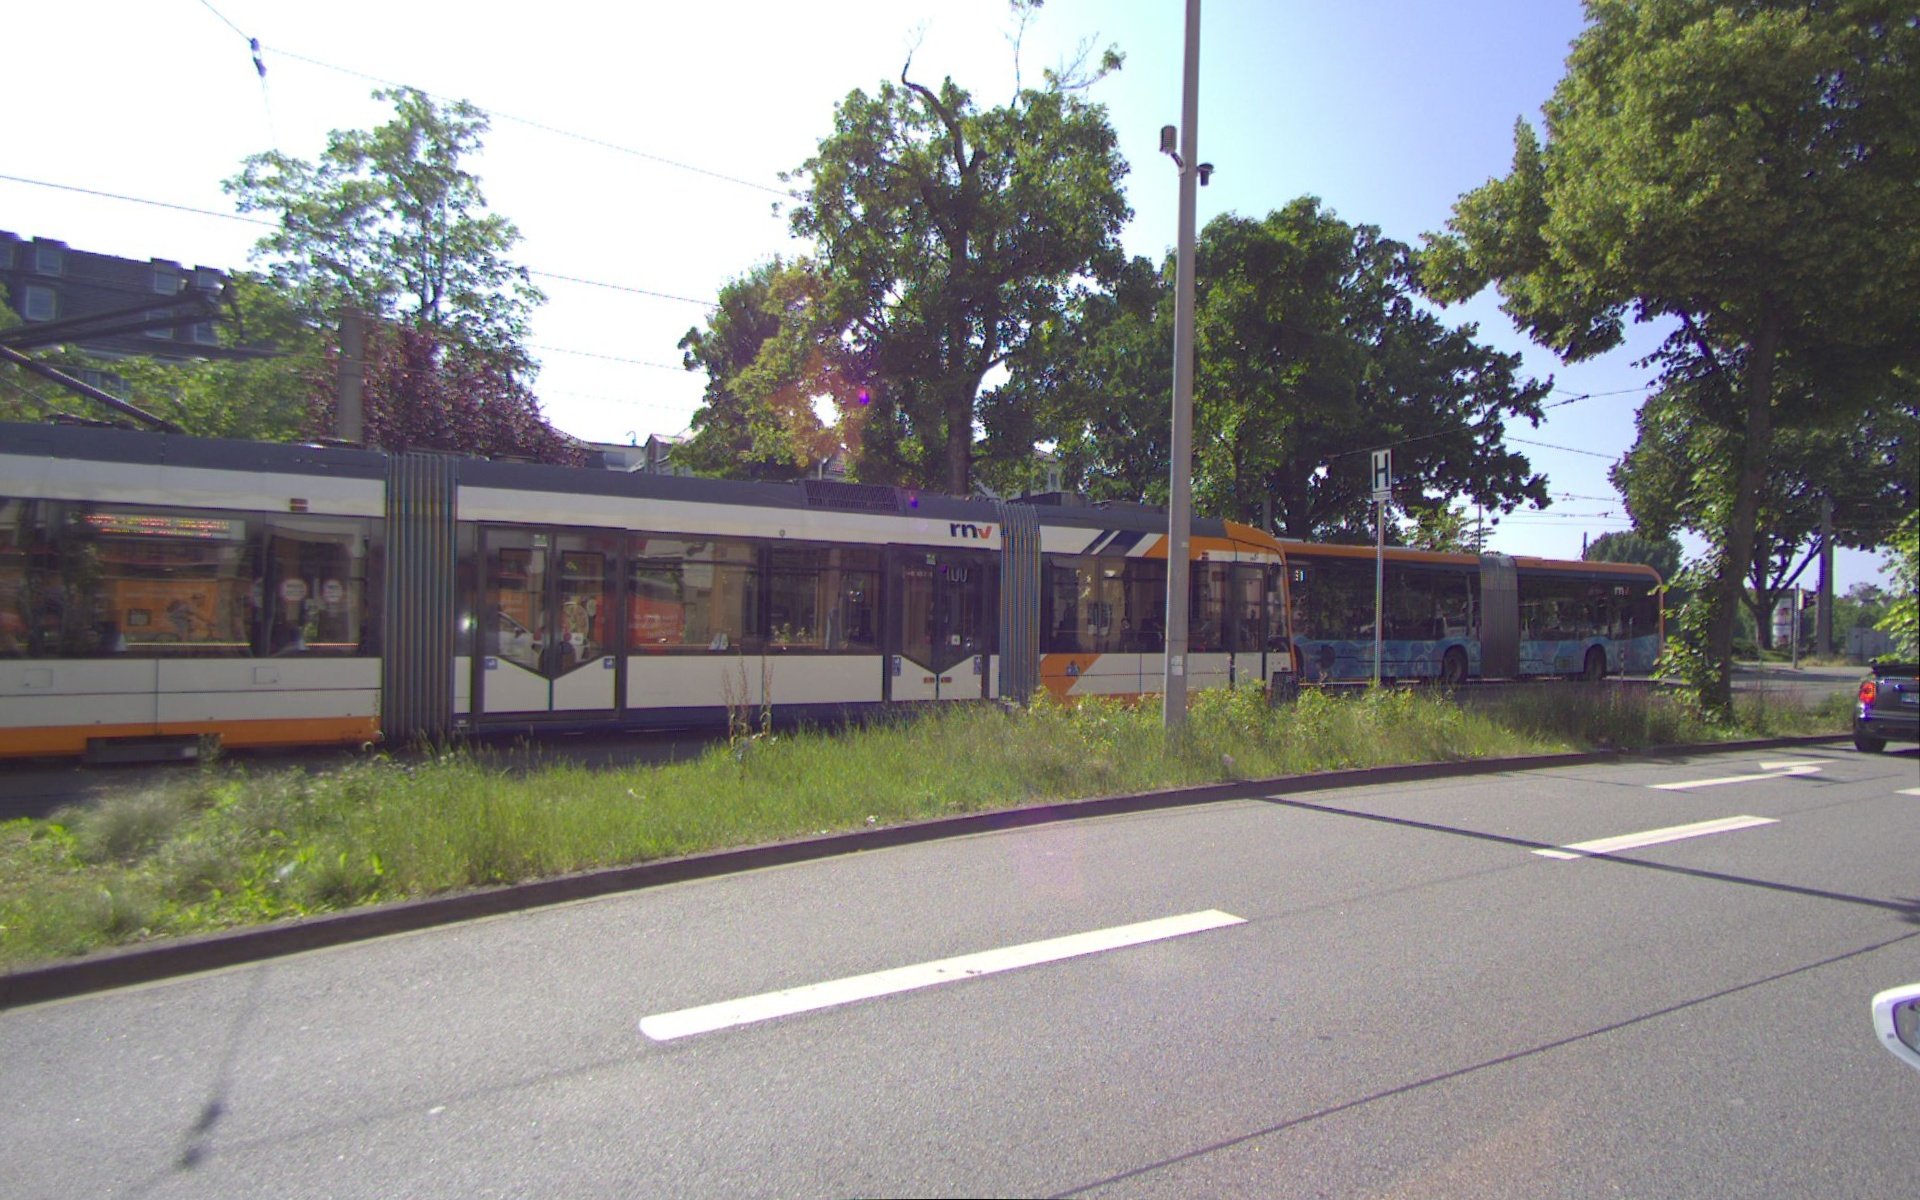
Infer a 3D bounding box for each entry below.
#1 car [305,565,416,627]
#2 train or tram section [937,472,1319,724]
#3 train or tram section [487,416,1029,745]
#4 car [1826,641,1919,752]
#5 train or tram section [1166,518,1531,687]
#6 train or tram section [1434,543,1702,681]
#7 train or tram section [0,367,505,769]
[{"bbox_3d":[-35.058,-0.223,58.943,5.355,3.360,2.117,2,1,-29],"label":"car"},{"bbox_3d":[2.891,0.006,17.019,5.944,3.629,2.602,2,2,-29],"label":"train or tram section"},{"bbox_3d":[-2.676,-0.165,13.892,6.814,3.629,2.602,2,2,-29],"label":"train or tram section"},{"bbox_3d":[13.623,1.287,13.413,3.950,1.350,1.809,3,-2,-28],"label":"car"},{"bbox_3d":[9.952,0.180,25.191,9.910,3.629,2.810,2,0,-29],"label":"train or tram section"},{"bbox_3d":[17.907,0.412,29.452,8.119,3.629,2.812,2,0,-27],"label":"train or tram section"},{"bbox_3d":[-7.980,-0.289,10.928,5.291,3.629,2.602,2,2,-29],"label":"train or tram section"}]
